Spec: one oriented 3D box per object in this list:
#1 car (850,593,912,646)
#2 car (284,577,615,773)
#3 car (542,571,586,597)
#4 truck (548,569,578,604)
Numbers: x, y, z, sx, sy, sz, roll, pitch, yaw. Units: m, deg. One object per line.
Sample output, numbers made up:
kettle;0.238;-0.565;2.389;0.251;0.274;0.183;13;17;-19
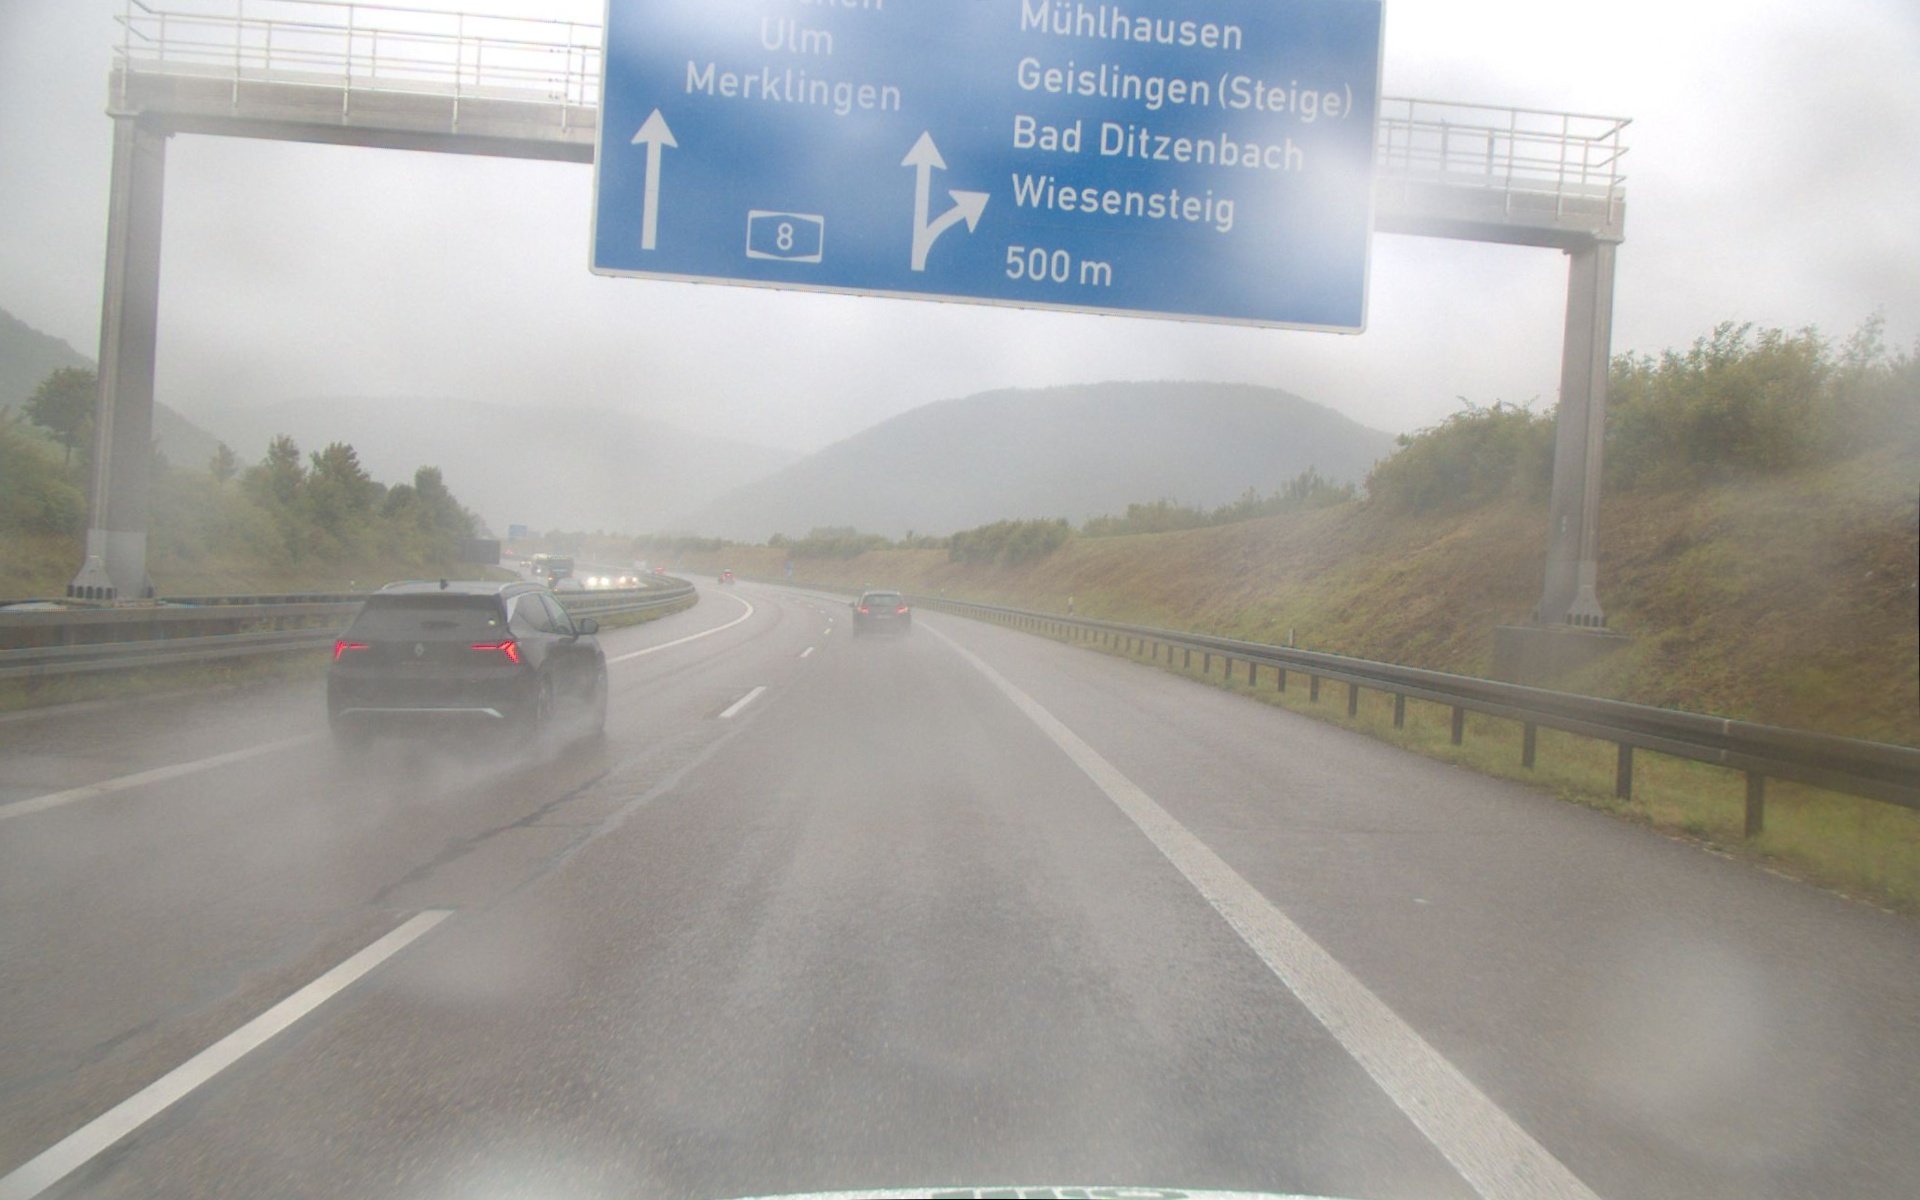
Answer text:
car;-2.387;0.572;50.754;1.645;1.498;3.814;2;0;0
car;-4.673;0.615;15.965;2.362;1.542;4.773;2;0;-9
car;-26.075;-1.015;108.943;1.953;1.545;3.999;3;0;-2
truck;-41.387;-1.428;172.499;2.666;3.604;5.299;1;1;-10
